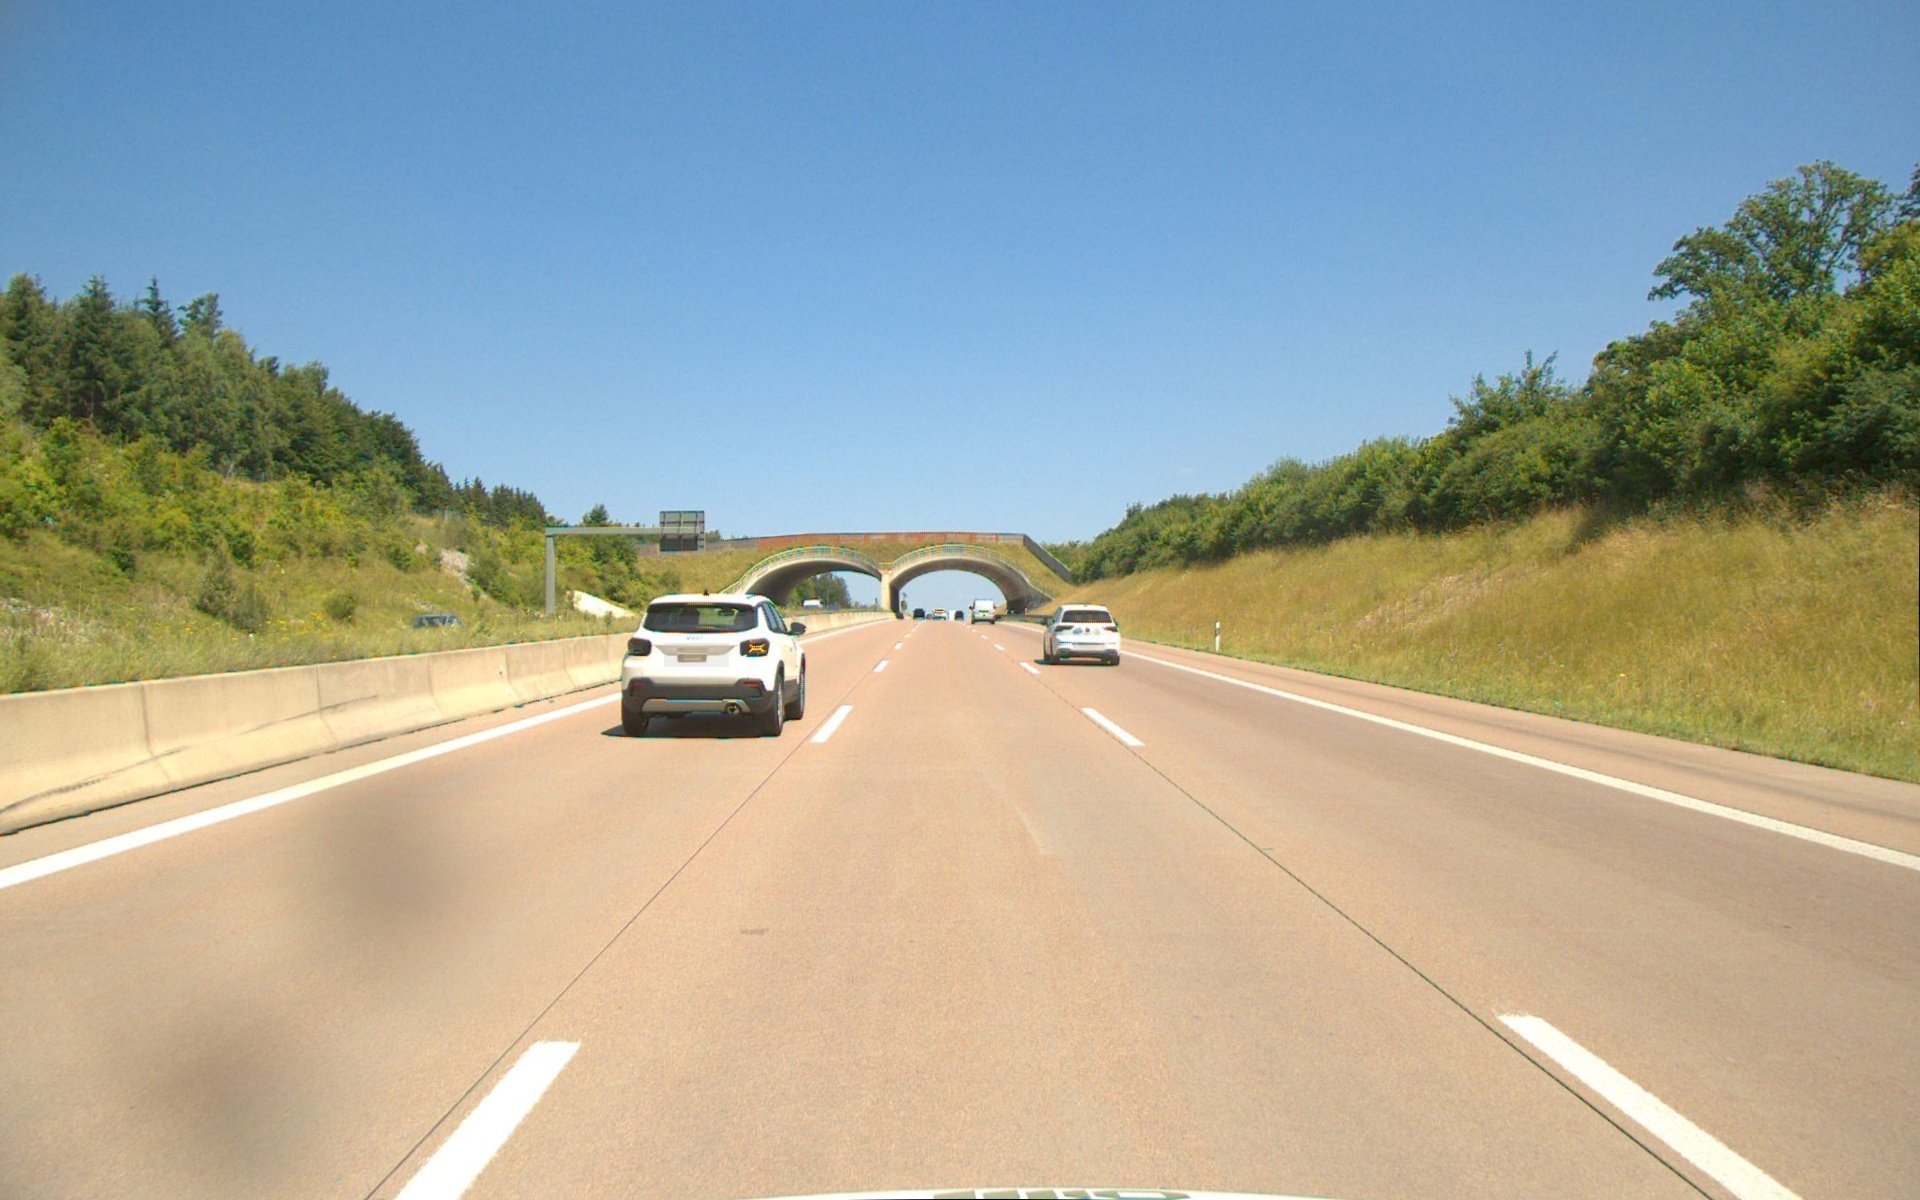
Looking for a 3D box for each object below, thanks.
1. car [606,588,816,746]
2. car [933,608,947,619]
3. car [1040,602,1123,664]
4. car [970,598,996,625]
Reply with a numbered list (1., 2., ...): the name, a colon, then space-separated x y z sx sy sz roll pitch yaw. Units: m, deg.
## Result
1. car: -2.811 0.688 19.695 1.841 1.635 4.833 0 0 -1
2. car: -2.790 1.909 232.832 1.852 1.489 4.000 1 0 -1
3. car: 3.015 0.794 41.667 1.852 1.422 4.001 1 1 1
4. car: 1.842 0.912 132.483 2.067 2.089 4.001 1 1 1
